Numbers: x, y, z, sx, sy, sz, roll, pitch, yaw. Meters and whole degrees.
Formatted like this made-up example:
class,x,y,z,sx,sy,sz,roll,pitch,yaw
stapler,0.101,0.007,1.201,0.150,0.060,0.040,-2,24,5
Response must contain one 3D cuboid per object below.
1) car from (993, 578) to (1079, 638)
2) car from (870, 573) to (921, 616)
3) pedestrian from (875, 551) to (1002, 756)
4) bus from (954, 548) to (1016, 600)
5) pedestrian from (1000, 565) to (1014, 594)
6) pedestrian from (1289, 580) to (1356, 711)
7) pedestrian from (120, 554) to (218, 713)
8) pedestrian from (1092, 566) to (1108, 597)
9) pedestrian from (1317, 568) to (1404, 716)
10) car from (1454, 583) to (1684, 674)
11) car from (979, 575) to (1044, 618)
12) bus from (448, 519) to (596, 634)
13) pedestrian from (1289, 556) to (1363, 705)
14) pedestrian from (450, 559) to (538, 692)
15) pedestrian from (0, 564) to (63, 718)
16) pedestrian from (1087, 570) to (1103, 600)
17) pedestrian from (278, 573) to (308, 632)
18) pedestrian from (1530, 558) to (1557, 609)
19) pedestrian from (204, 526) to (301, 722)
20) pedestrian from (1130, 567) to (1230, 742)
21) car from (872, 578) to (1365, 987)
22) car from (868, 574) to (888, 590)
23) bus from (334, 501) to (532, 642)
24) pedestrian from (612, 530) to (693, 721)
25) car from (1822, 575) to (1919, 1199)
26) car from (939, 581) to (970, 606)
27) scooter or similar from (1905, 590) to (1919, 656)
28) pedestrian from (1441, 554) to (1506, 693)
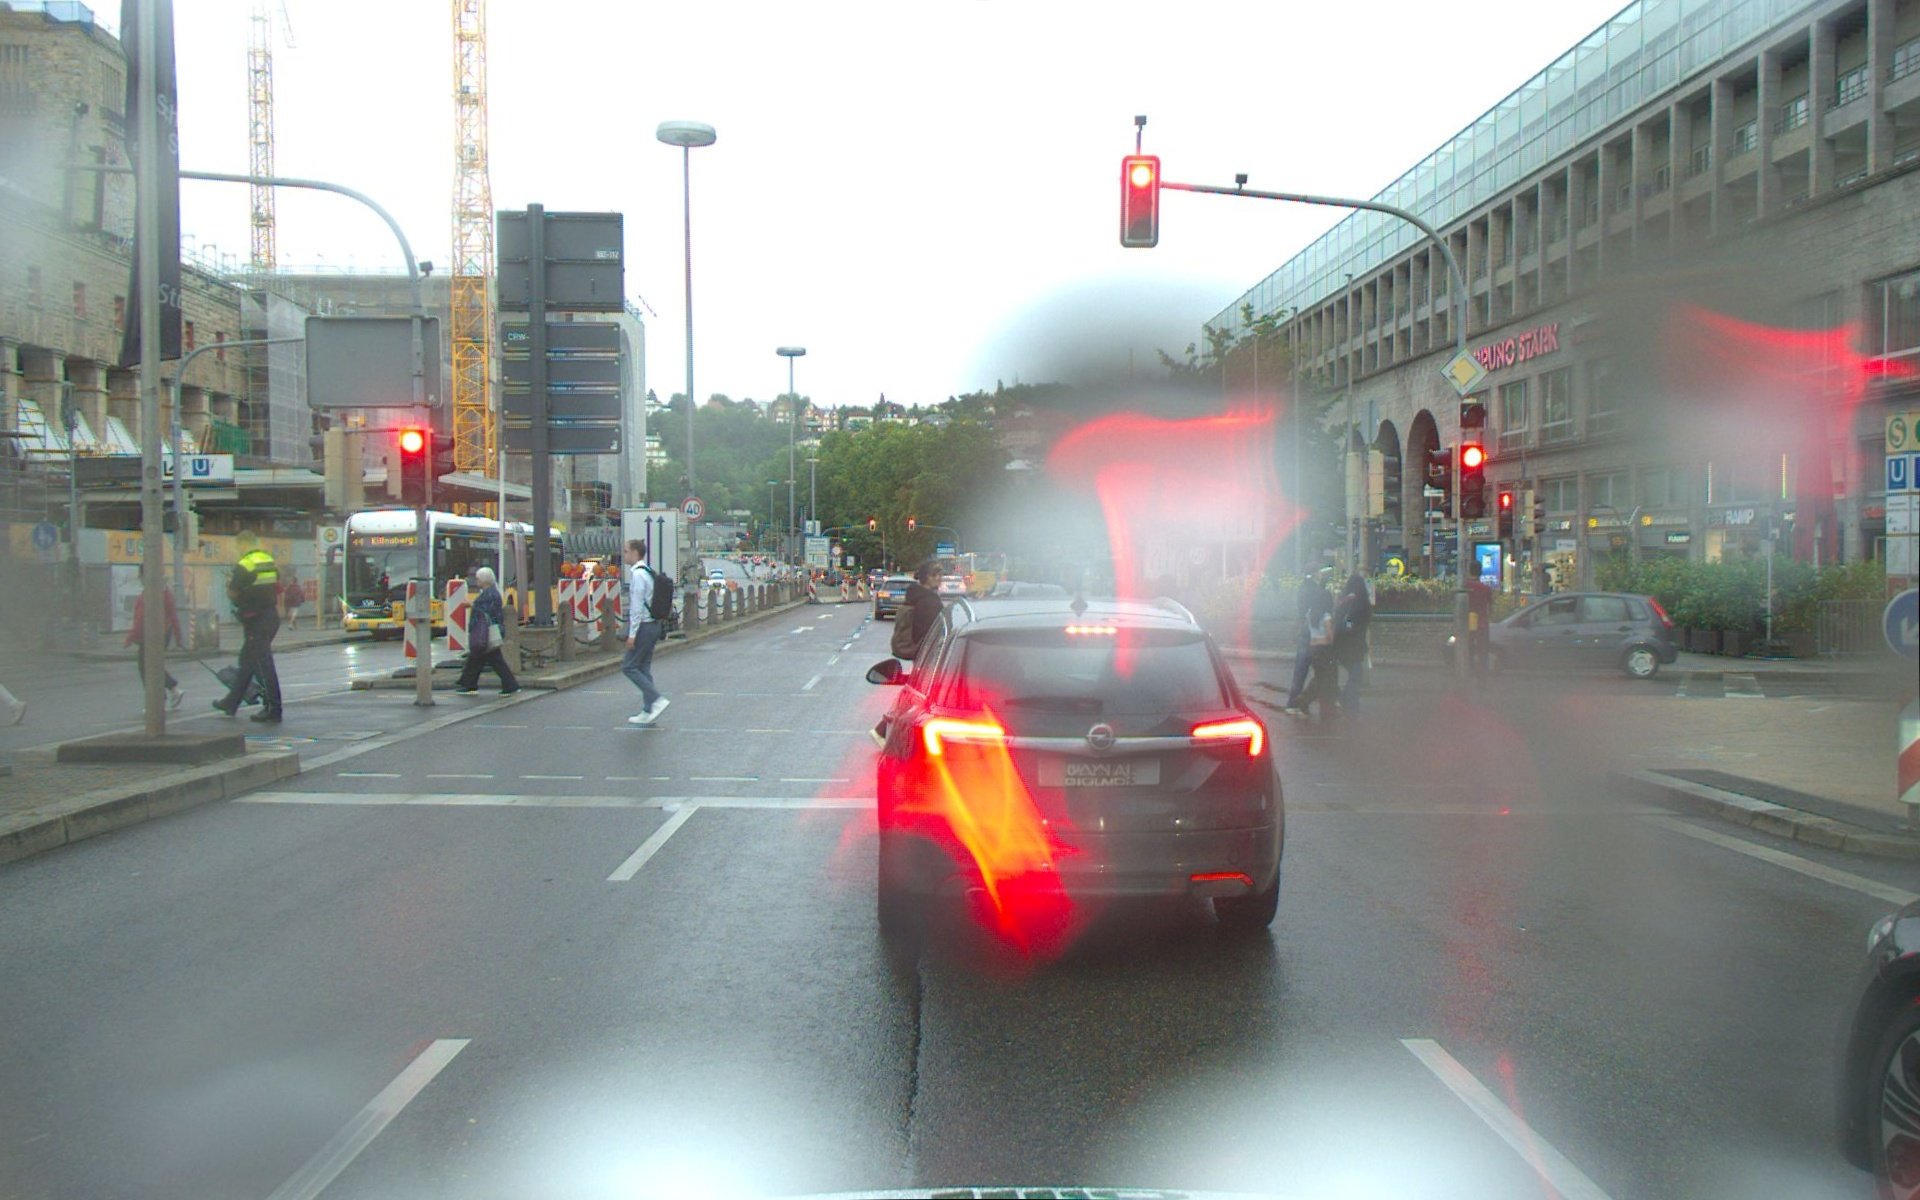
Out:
class,x,y,z,sx,sy,sz,roll,pitch,yaw
car,1.898,0.193,42.430,1.718,1.422,4.645,1,0,-3
car,-2.253,-0.194,57.959,1.718,1.422,4.536,1,0,-2
pedestrian,-0.208,0.475,15.046,1.074,1.782,0.653,-2,0,-4
bus,1.712,-1.784,121.496,4.089,3.529,14.651,1,0,-1
pedestrian,4.103,-1.755,143.534,1.174,2.478,1.228,1,0,0
pedestrian,4.225,0.525,19.306,0.665,1.500,0.366,1,0,-6
pedestrian,-8.923,0.370,18.685,0.783,1.747,0.619,-1,0,-5
pedestrian,8.034,-1.048,94.699,0.748,1.720,0.824,1,0,-5
pedestrian,4.533,0.465,18.754,0.783,1.636,0.619,1,0,-5
car,10.357,0.465,28.395,3.578,1.422,1.852,1,0,17
car,1.768,-0.122,58.067,1.719,1.422,4.397,1,0,-5
bus,-15.371,-0.769,58.885,2.614,3.665,10.209,1,0,-1
pedestrian,4.371,0.362,19.787,0.740,1.747,0.466,1,0,-5
pedestrian,-5.724,0.303,20.302,0.863,1.588,0.779,1,0,-30
pedestrian,-10.188,0.420,17.514,0.897,1.591,0.899,1,0,-4
pedestrian,7.835,-0.886,95.995,0.748,1.720,0.824,1,0,-5
pedestrian,-21.738,0.081,53.941,0.648,1.887,0.798,0,0,-1
pedestrian,23.406,-0.660,66.377,0.747,2.049,0.825,1,0,-1
pedestrian,-6.927,0.227,16.220,0.566,1.868,0.820,1,0,-1
pedestrian,2.142,0.523,16.181,0.778,1.654,0.899,1,0,-4
car,0.555,0.688,8.216,1.837,1.512,3.999,1,0,-1
car,-7.437,-1.610,150.566,1.723,1.422,3.563,1,0,-1
bus,-15.215,-0.760,48.702,2.614,3.665,10.237,1,0,-1
pedestrian,-3.176,0.262,17.135,0.784,1.923,0.619,1,0,-9
car,3.081,0.724,1.831,1.757,1.528,4.627,1,0,-1
car,-0.346,-0.399,99.786,1.808,1.422,3.563,1,0,-1
scooter or similar,17.860,0.428,30.288,0.285,1.210,1.014,1,0,-19
pedestrian,6.700,0.301,21.572,0.560,1.783,0.676,1,0,42
